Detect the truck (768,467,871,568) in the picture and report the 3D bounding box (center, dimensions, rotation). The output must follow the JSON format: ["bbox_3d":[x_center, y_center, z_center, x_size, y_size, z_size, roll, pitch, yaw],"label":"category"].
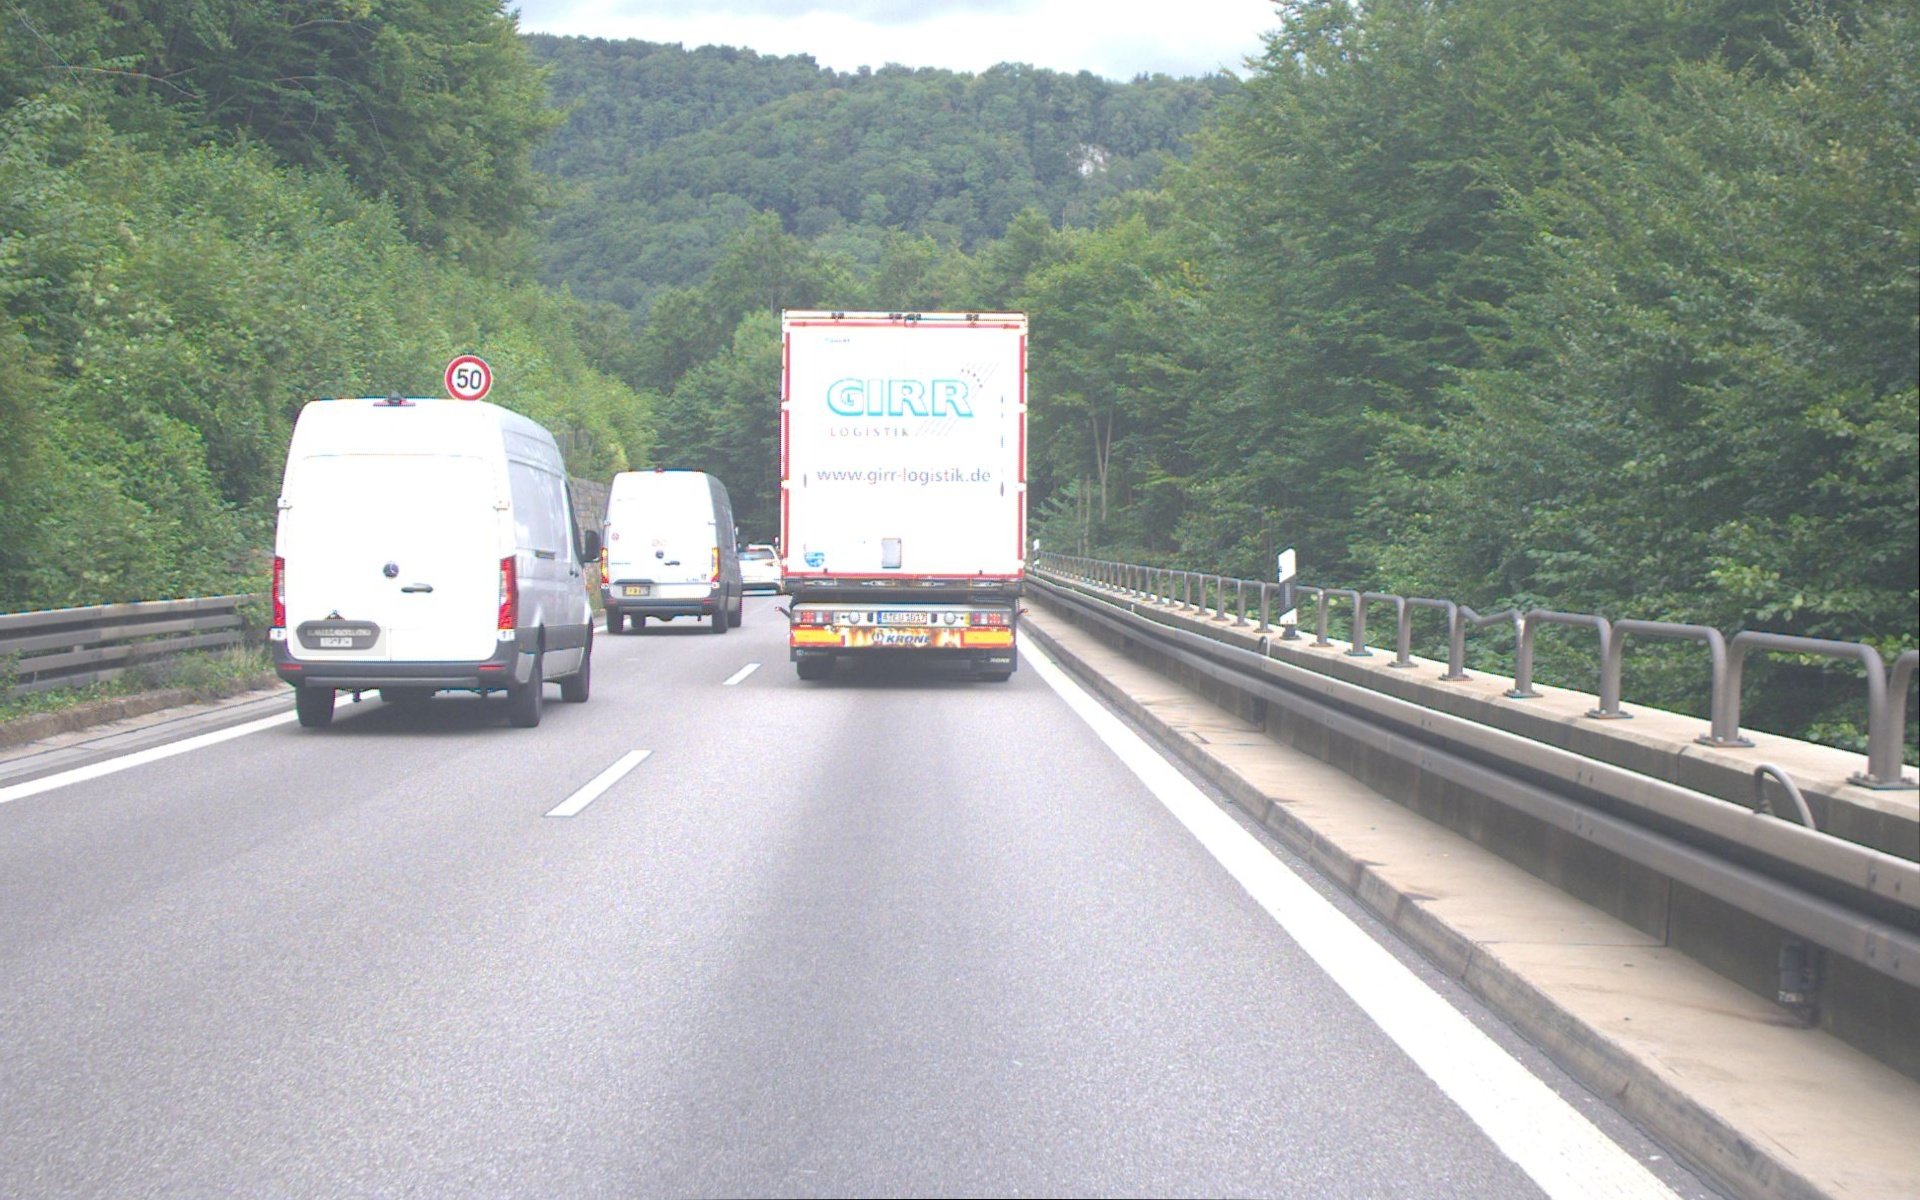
[{"bbox_3d":[-5.976,-3.370,143.498,3.057,3.973,13.701,1,1,-7],"label":"truck"}]

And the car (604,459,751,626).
[{"bbox_3d":[-4.719,-0.990,58.208,1.939,2.663,5.991,0,1,0],"label":"car"}]

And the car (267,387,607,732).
[{"bbox_3d":[-4.412,-0.390,30.103,1.989,2.663,6.937,0,1,-1],"label":"car"}]

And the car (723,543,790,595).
[{"bbox_3d":[-5.881,-0.925,99.499,1.732,1.416,4.000,1,1,-1],"label":"car"}]

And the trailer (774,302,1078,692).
[{"bbox_3d":[-0.440,-1.322,41.505,3.057,3.972,12.138,1,2,-1],"label":"trailer"}]
